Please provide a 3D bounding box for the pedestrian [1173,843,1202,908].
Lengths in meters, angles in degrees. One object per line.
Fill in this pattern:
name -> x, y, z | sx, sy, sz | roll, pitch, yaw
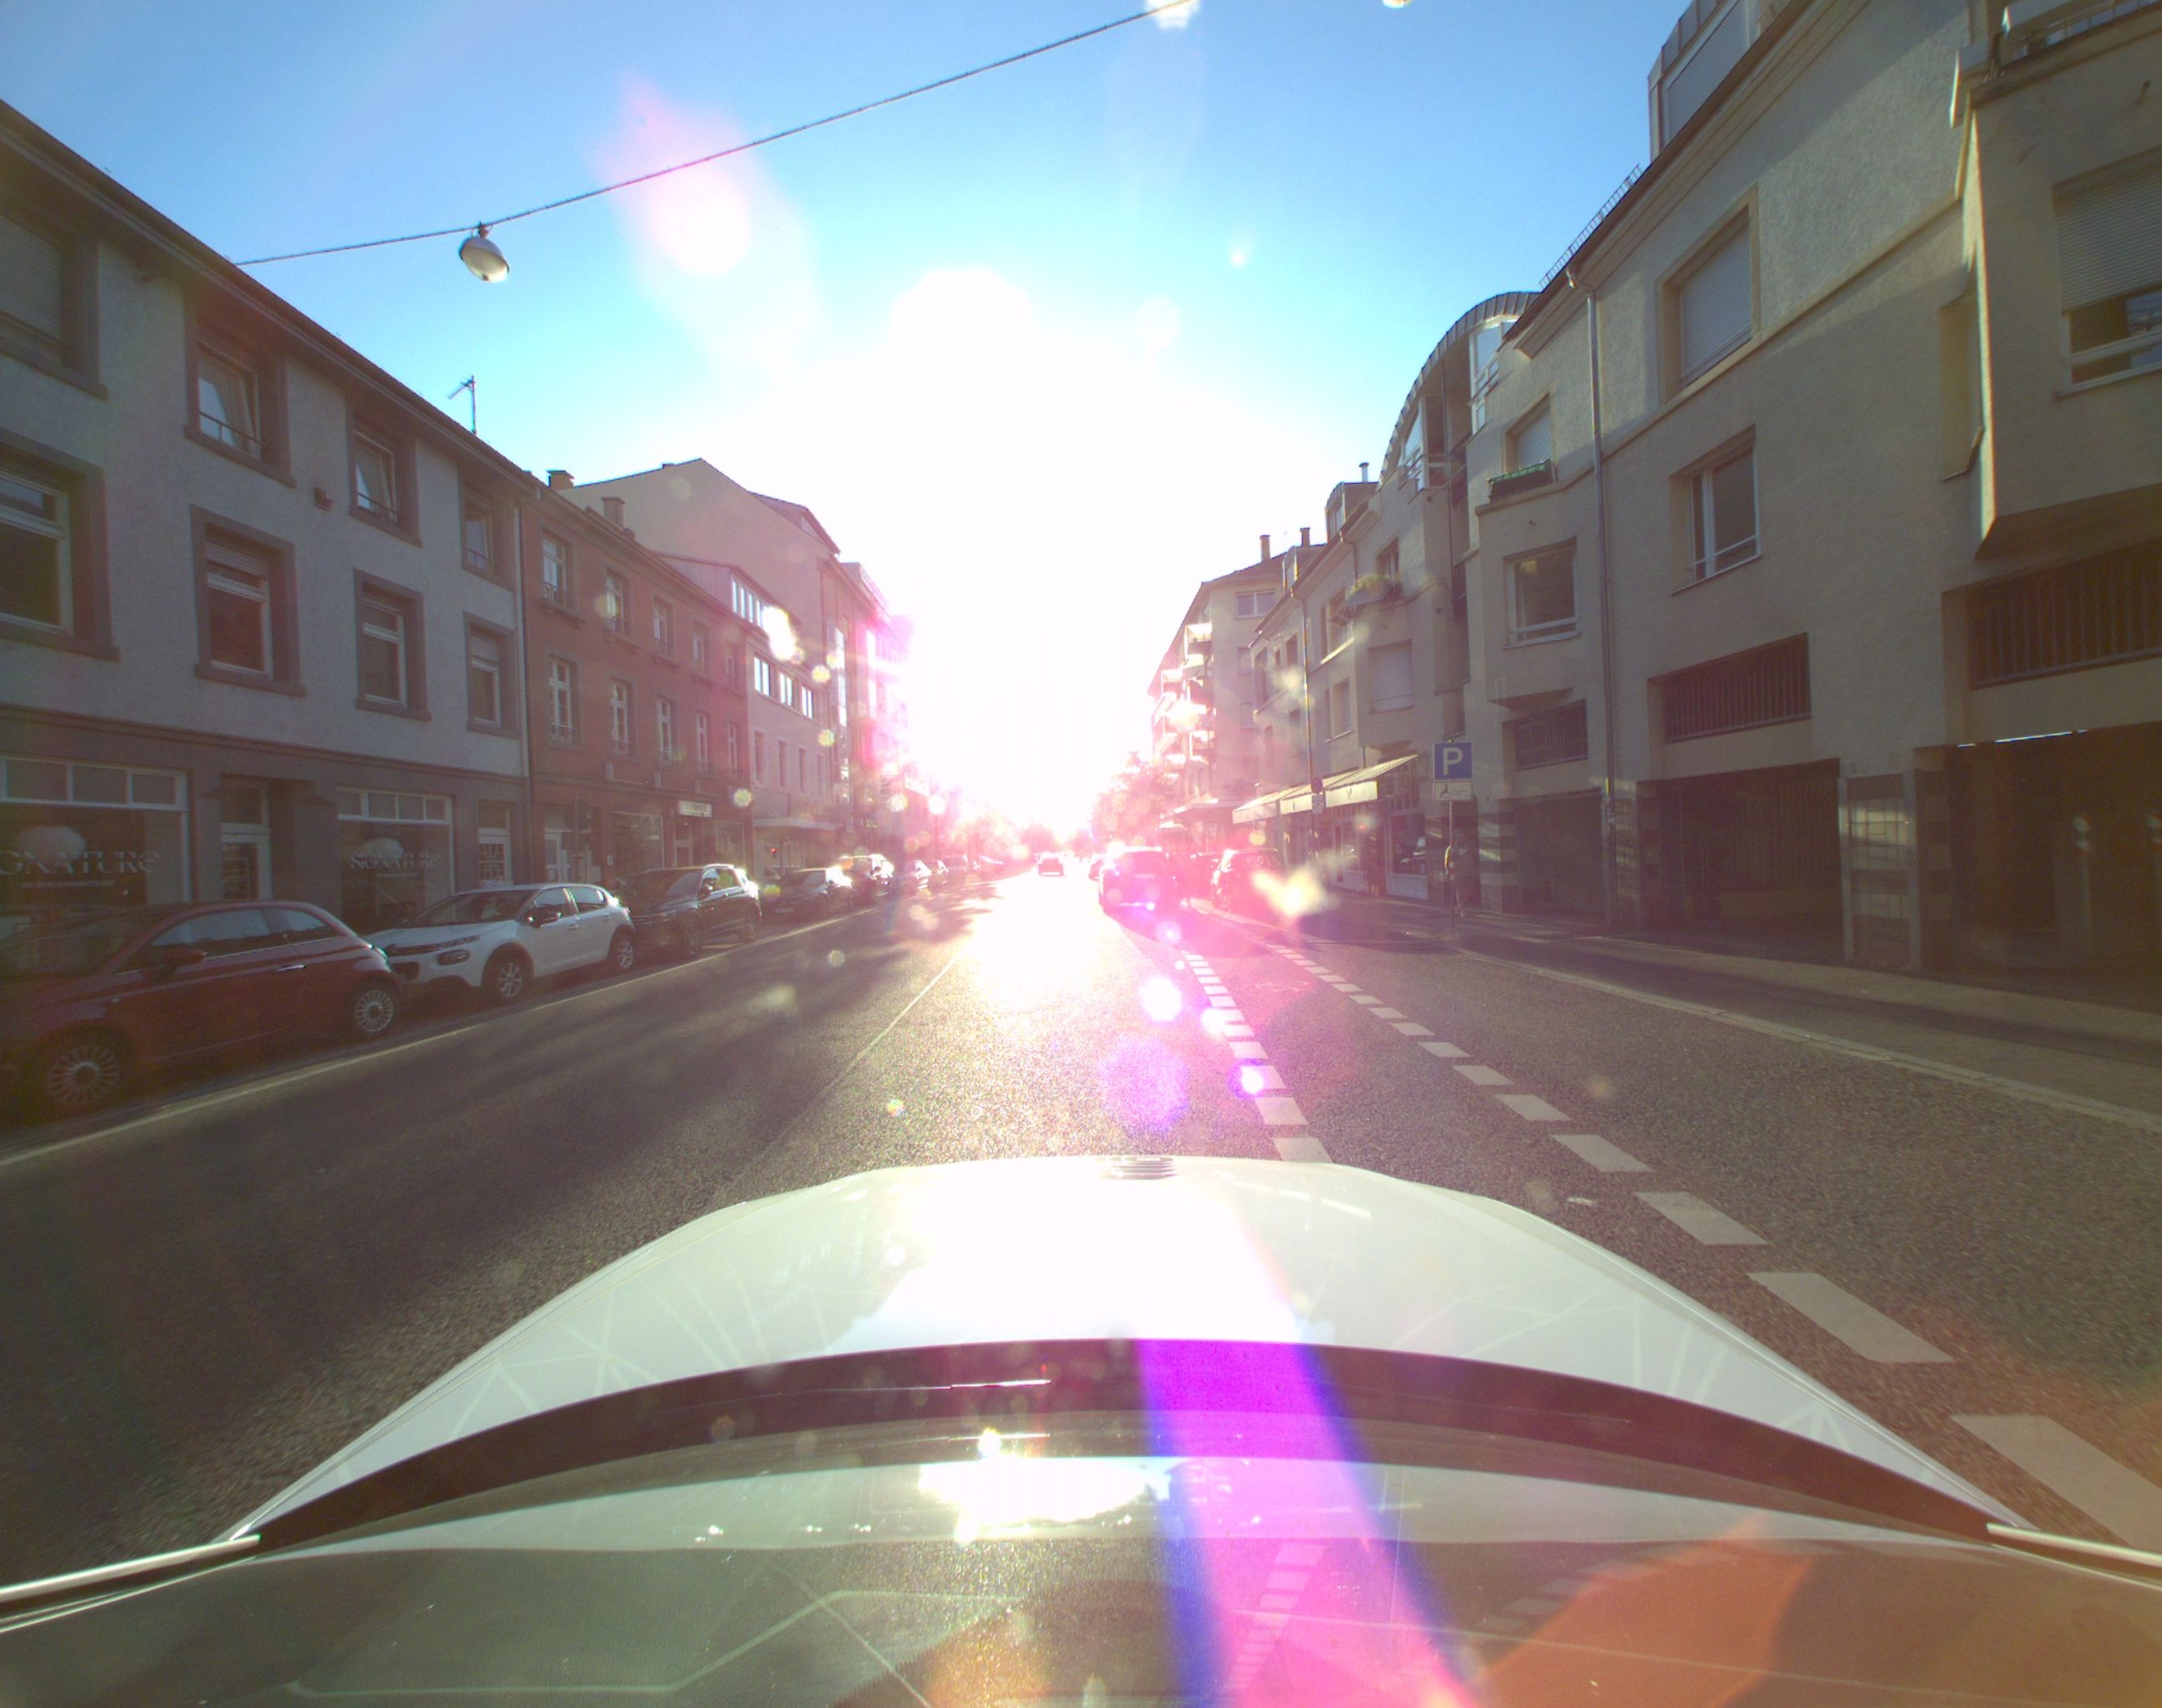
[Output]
pedestrian -> 2.815, 0.561, 21.547 | 0.444, 1.665, 0.561 | -3, 0, -26

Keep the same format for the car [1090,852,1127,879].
car -> 1.530, 0.622, 46.670 | 1.916, 1.415, 4.547 | 0, 0, 0

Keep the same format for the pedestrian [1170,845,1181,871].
pedestrian -> 6.569, 0.264, 56.513 | 0.685, 1.721, 0.717 | -3, 0, 5

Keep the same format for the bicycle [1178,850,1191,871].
bicycle -> 6.066, 0.356, 47.706 | 0.647, 1.155, 1.934 | -2, 0, 4

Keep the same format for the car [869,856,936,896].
car -> -8.094, 0.947, 37.357 | 1.821, 1.556, 5.135 | -4, 0, 0

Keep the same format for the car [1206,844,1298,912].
car -> 4.352, 0.572, 21.078 | 1.629, 1.553, 2.691 | -3, 0, -3

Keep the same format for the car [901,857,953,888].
car -> -8.095, 0.948, 43.275 | 1.822, 1.439, 4.552 | -4, 0, -1

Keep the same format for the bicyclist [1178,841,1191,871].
bicyclist -> 6.044, 0.100, 47.652 | 0.647, 1.702, 1.097 | -2, 0, 4

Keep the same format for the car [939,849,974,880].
car -> -8.041, 0.662, 52.760 | 1.829, 1.854, 4.118 | -2, 0, -4

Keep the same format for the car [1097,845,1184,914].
car -> 1.495, 0.601, 22.099 | 1.989, 1.655, 4.672 | 0, 0, 0

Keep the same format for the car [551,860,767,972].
car -> -7.693, 1.029, 15.391 | 1.768, 1.633, 4.237 | -4, 0, 0

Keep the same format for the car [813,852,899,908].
car -> -8.301, 0.874, 30.561 | 1.823, 1.810, 5.343 | -4, 0, -3

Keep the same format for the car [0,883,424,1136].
car -> -7.984, 1.134, 6.981 | 1.768, 1.515, 3.484 | -4, 0, 0

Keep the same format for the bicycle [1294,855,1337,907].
bicycle -> 5.890, 0.653, 20.545 | 0.396, 1.234, 1.823 | -3, 0, -3

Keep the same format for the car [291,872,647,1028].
car -> -7.904, 1.121, 11.092 | 1.768, 1.515, 3.949 | -4, 0, 0

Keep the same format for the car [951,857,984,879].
car -> -8.172, 0.994, 58.914 | 1.828, 1.328, 4.121 | -3, 1, -2

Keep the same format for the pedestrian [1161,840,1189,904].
pedestrian -> 2.532, 0.480, 22.007 | 0.444, 1.665, 0.561 | -3, 0, -26

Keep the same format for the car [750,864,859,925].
car -> -8.092, 1.126, 24.241 | 1.708, 1.440, 4.308 | -4, 0, -1

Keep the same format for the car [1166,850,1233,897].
car -> 3.985, 0.626, 27.900 | 1.629, 1.424, 3.755 | -3, 0, -1

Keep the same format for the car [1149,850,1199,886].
car -> 4.004, 0.567, 35.603 | 1.698, 1.436, 3.931 | -2, 0, 0

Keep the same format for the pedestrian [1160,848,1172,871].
pedestrian -> 5.871, 0.353, 56.466 | 0.686, 1.559, 0.863 | -2, 0, 0

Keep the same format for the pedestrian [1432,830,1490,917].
pedestrian -> 7.596, 0.383, 16.306 | 0.806, 1.646, 0.607 | -4, -1, 5

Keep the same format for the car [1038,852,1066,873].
car -> -2.041, 0.616, 59.239 | 1.878, 1.415, 4.324 | -1, 0, -1
